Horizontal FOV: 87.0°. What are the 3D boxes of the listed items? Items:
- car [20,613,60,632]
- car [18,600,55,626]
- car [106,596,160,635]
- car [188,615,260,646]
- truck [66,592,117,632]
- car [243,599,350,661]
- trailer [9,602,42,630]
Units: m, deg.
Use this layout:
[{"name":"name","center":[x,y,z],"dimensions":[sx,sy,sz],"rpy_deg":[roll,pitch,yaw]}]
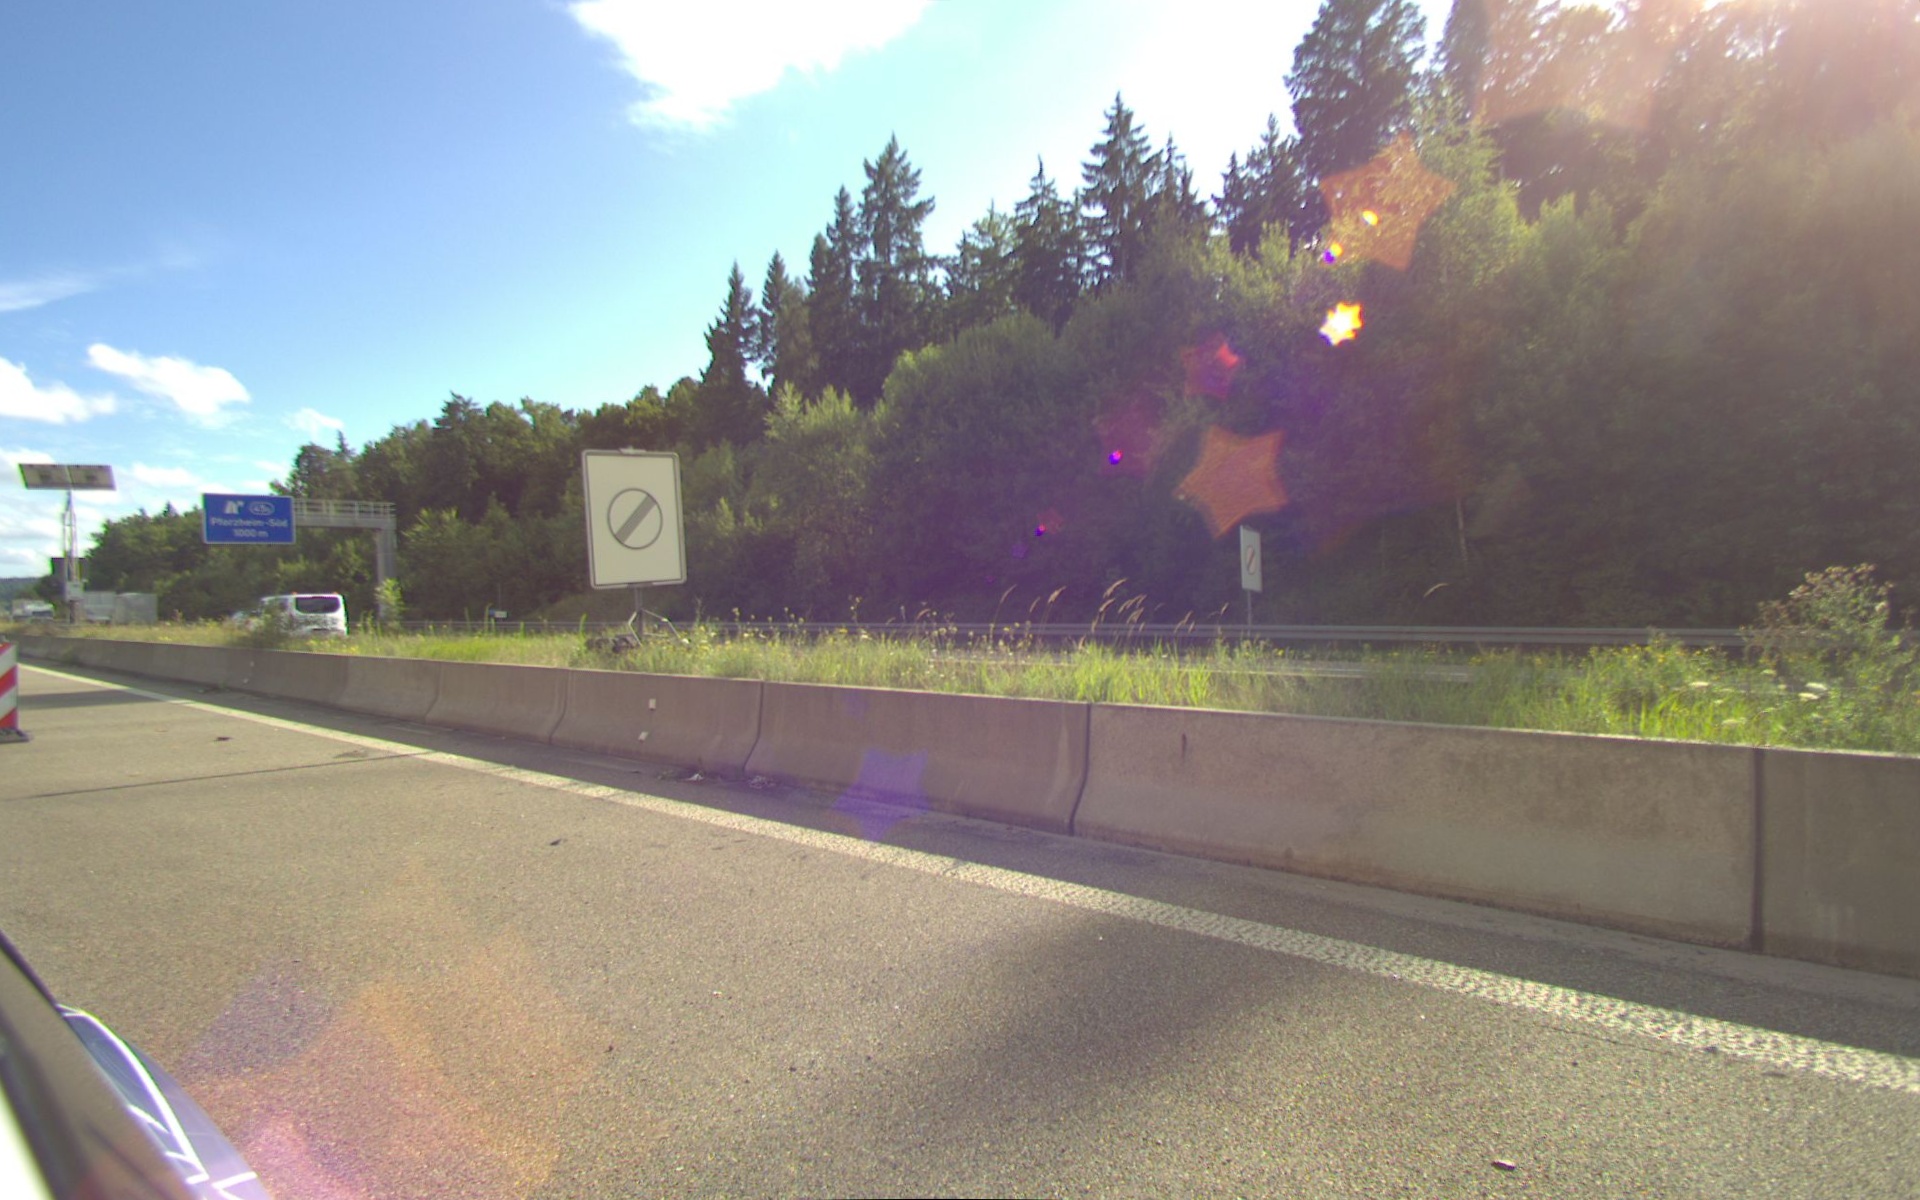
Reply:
[{"name":"car","center":[-68.634,1.651,75.449],"dimensions":[4.309,1.398,1.760],"rpy_deg":[-1,0,42]},{"name":"car","center":[-95.409,1.336,104.497],"dimensions":[6.328,2.470,2.138],"rpy_deg":[-1,1,41]},{"name":"car","center":[-74.463,1.349,91.081],"dimensions":[7.448,3.395,2.461],"rpy_deg":[-1,0,41]},{"name":"car","center":[-35.519,1.457,48.823],"dimensions":[4.286,1.373,1.938],"rpy_deg":[-1,0,41]},{"name":"truck","center":[-92.792,1.305,108.084],"dimensions":[10.181,4.022,2.771],"rpy_deg":[-1,0,41]},{"name":"car","center":[-23.730,1.021,36.125],"dimensions":[4.829,2.029,1.973],"rpy_deg":[-1,0,41]},{"name":"trailer","center":[-138.960,2.378,150.485],"dimensions":[8.484,3.953,2.762],"rpy_deg":[-1,0,41]}]
